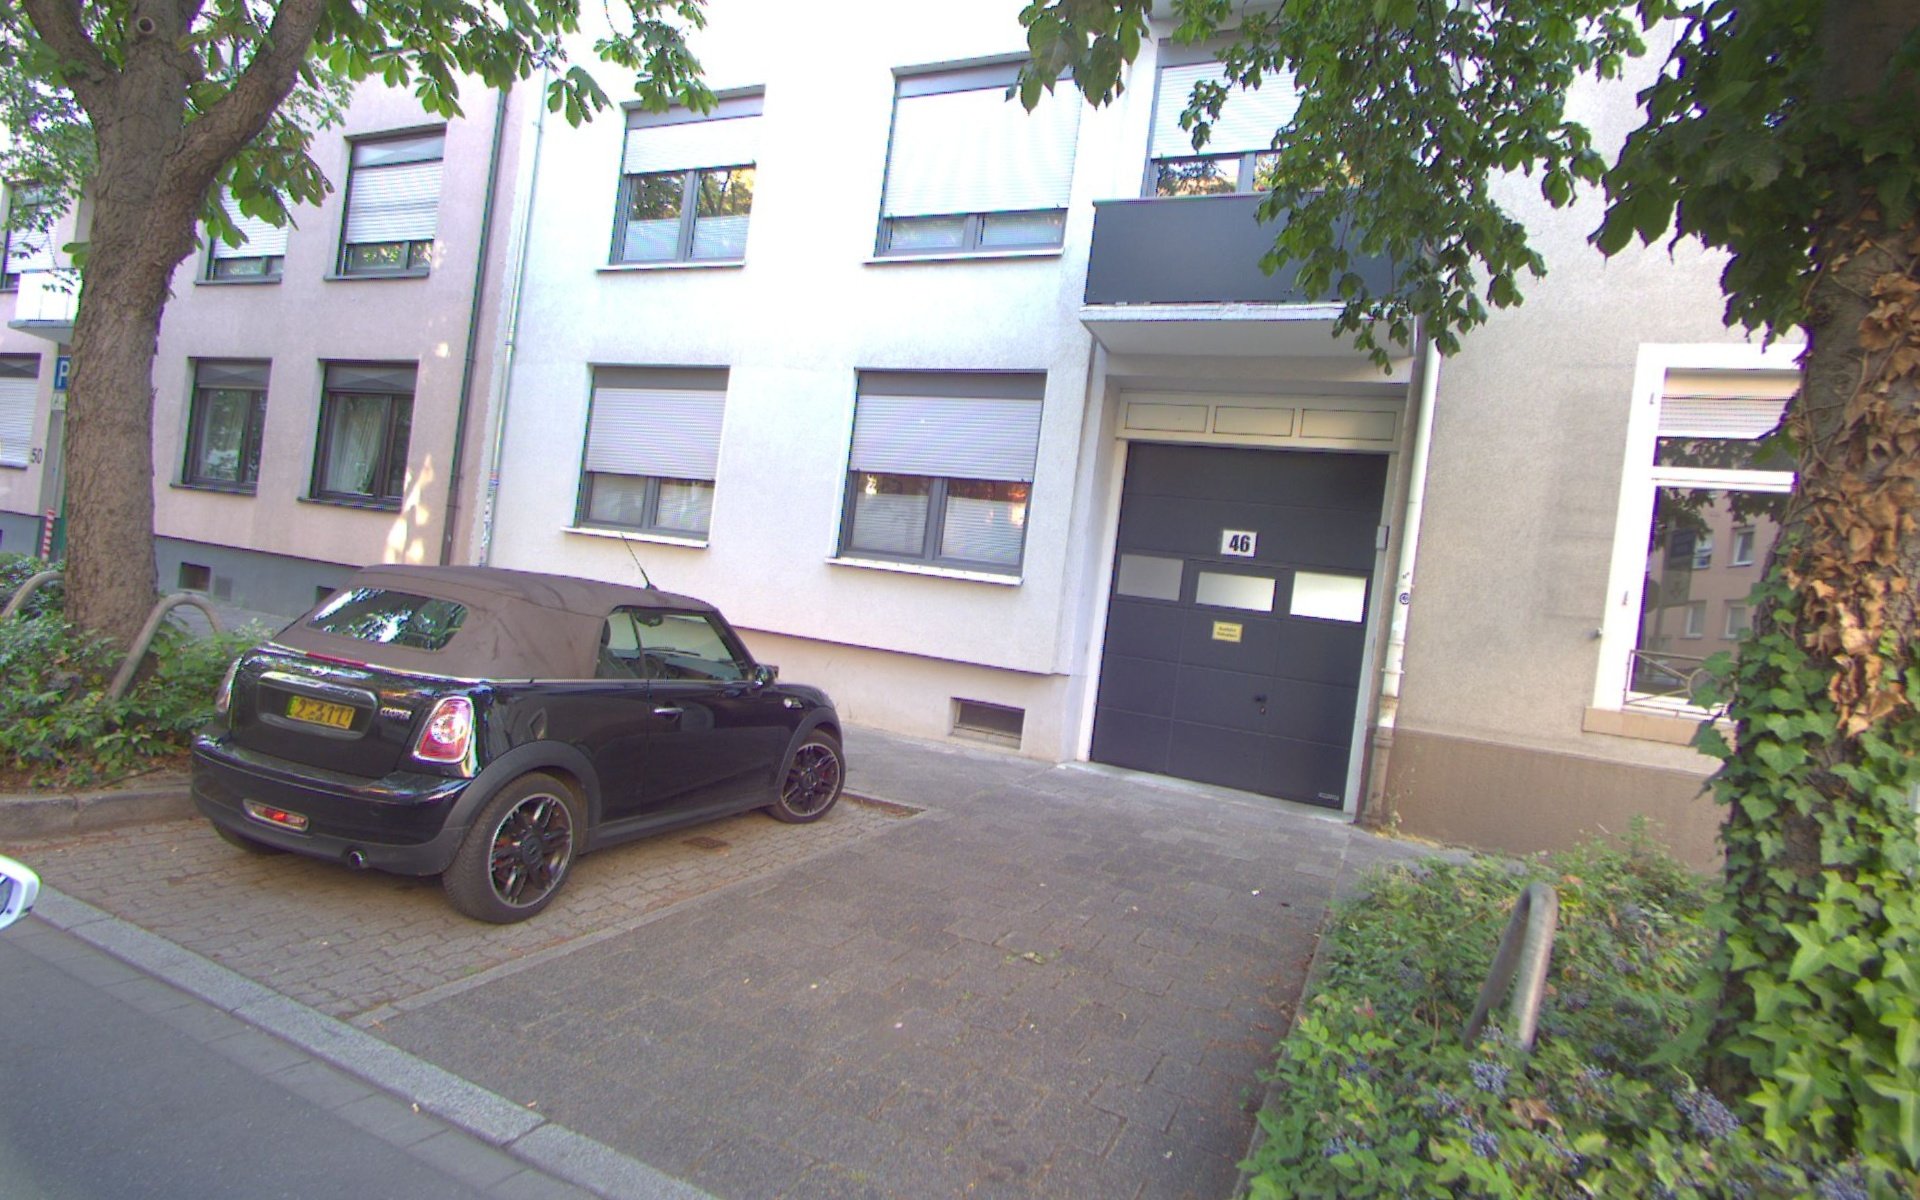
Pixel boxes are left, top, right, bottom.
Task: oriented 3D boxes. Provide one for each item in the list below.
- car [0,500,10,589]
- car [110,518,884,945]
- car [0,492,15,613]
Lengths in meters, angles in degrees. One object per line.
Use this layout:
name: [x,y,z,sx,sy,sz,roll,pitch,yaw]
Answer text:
car: [-8.140,-0.167,5.057,4.730,1.497,1.779,8,-1,-42]
car: [-2.021,0.552,5.528,1.634,1.380,3.622,7,-1,22]
car: [-13.350,-0.801,11.045,1.634,1.494,3.921,7,-1,24]
